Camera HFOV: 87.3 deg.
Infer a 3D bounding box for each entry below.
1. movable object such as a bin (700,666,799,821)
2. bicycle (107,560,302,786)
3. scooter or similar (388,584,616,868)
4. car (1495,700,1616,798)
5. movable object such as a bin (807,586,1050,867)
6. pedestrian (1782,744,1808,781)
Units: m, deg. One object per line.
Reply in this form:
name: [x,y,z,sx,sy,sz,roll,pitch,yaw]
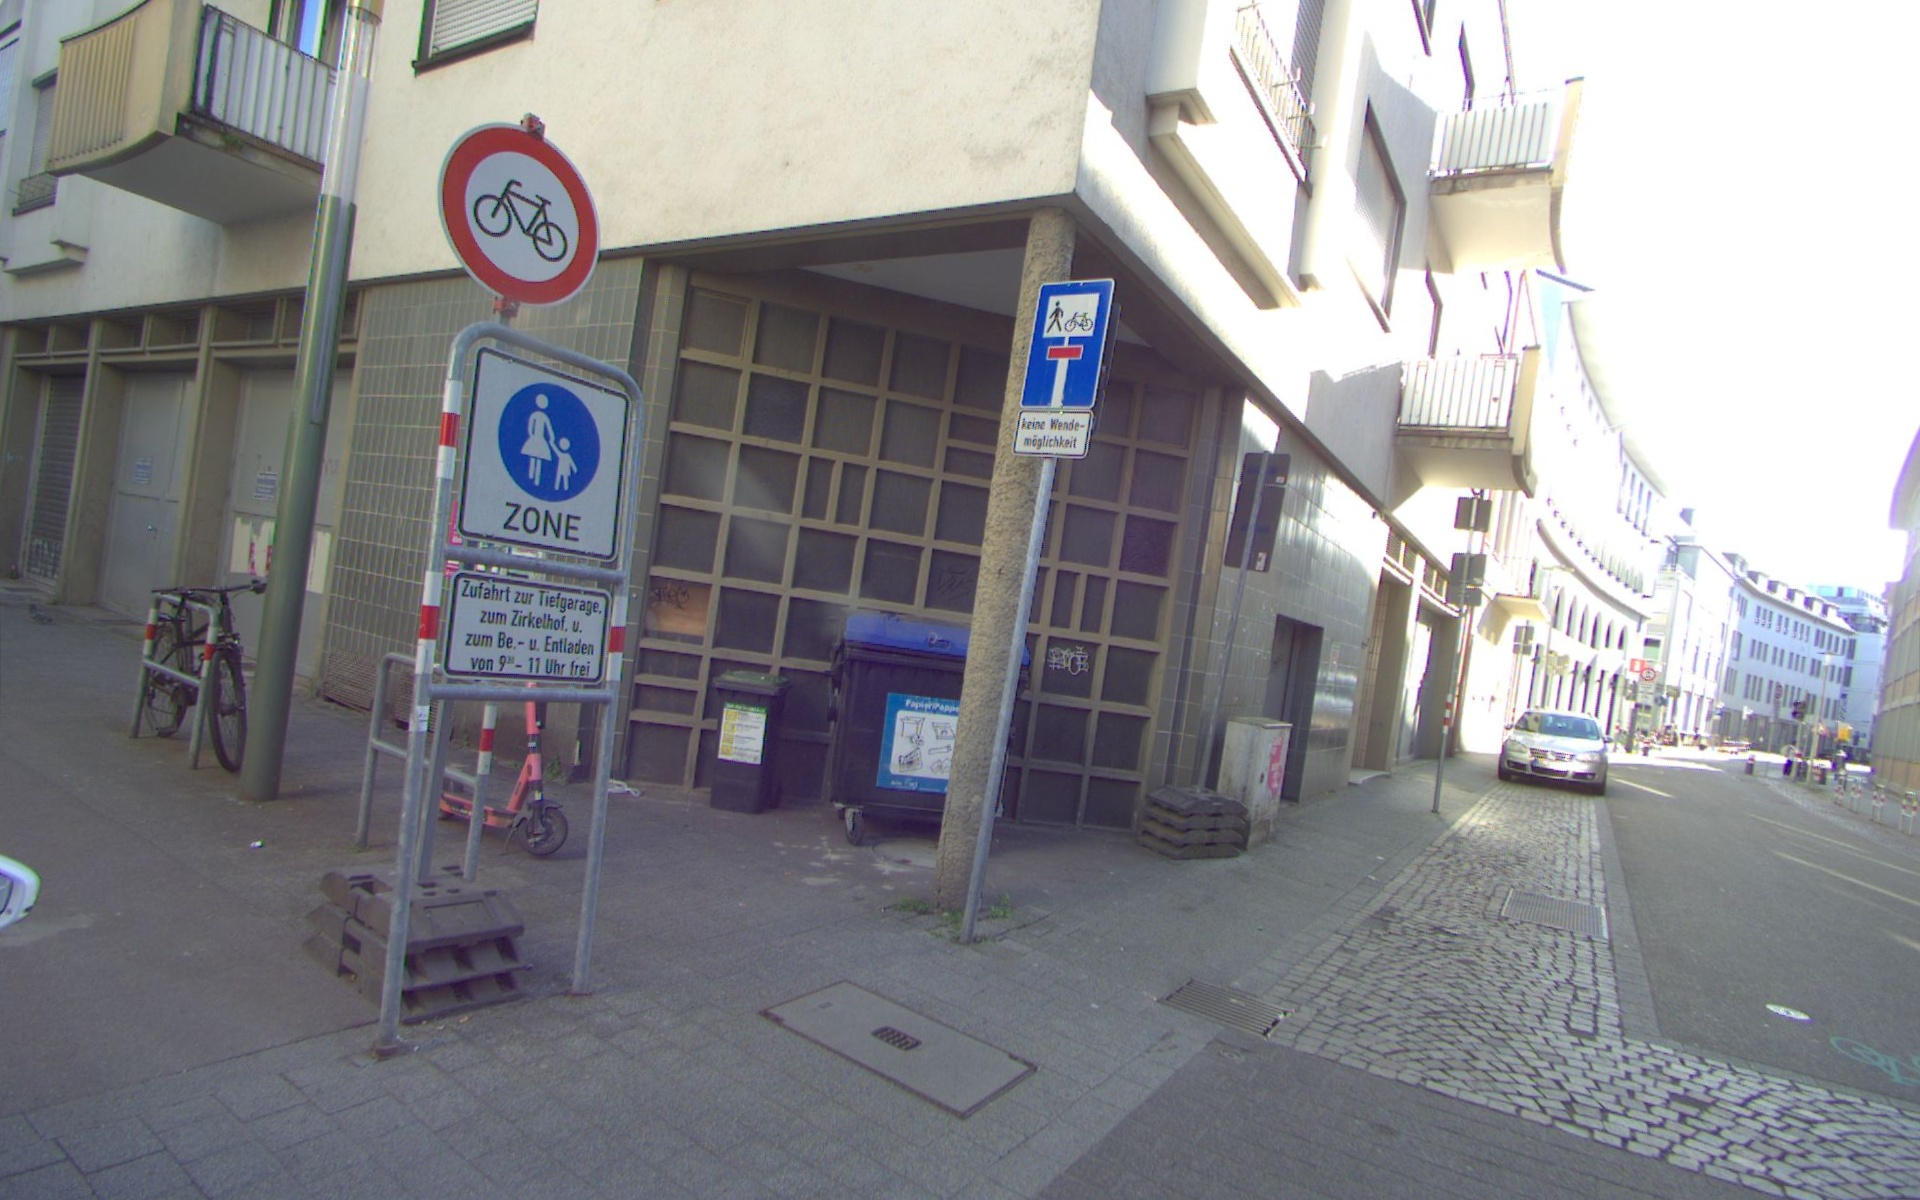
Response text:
movable object such as a bin: [-1.448,0.970,6.889,0.533,0.935,0.512,7,0,-14]
bicycle: [-4.697,0.401,6.210,1.684,1.153,0.446,6,-1,38]
scooter or similar: [-2.439,0.619,5.316,1.218,1.268,0.307,7,0,30]
car: [11.679,2.820,19.639,1.742,1.487,3.805,6,-2,33]
movable object such as a bin: [-0.270,0.805,6.871,1.271,1.609,1.152,8,1,-12]
pedestrian: [35.705,6.937,43.012,0.649,1.458,0.594,8,0,35]
